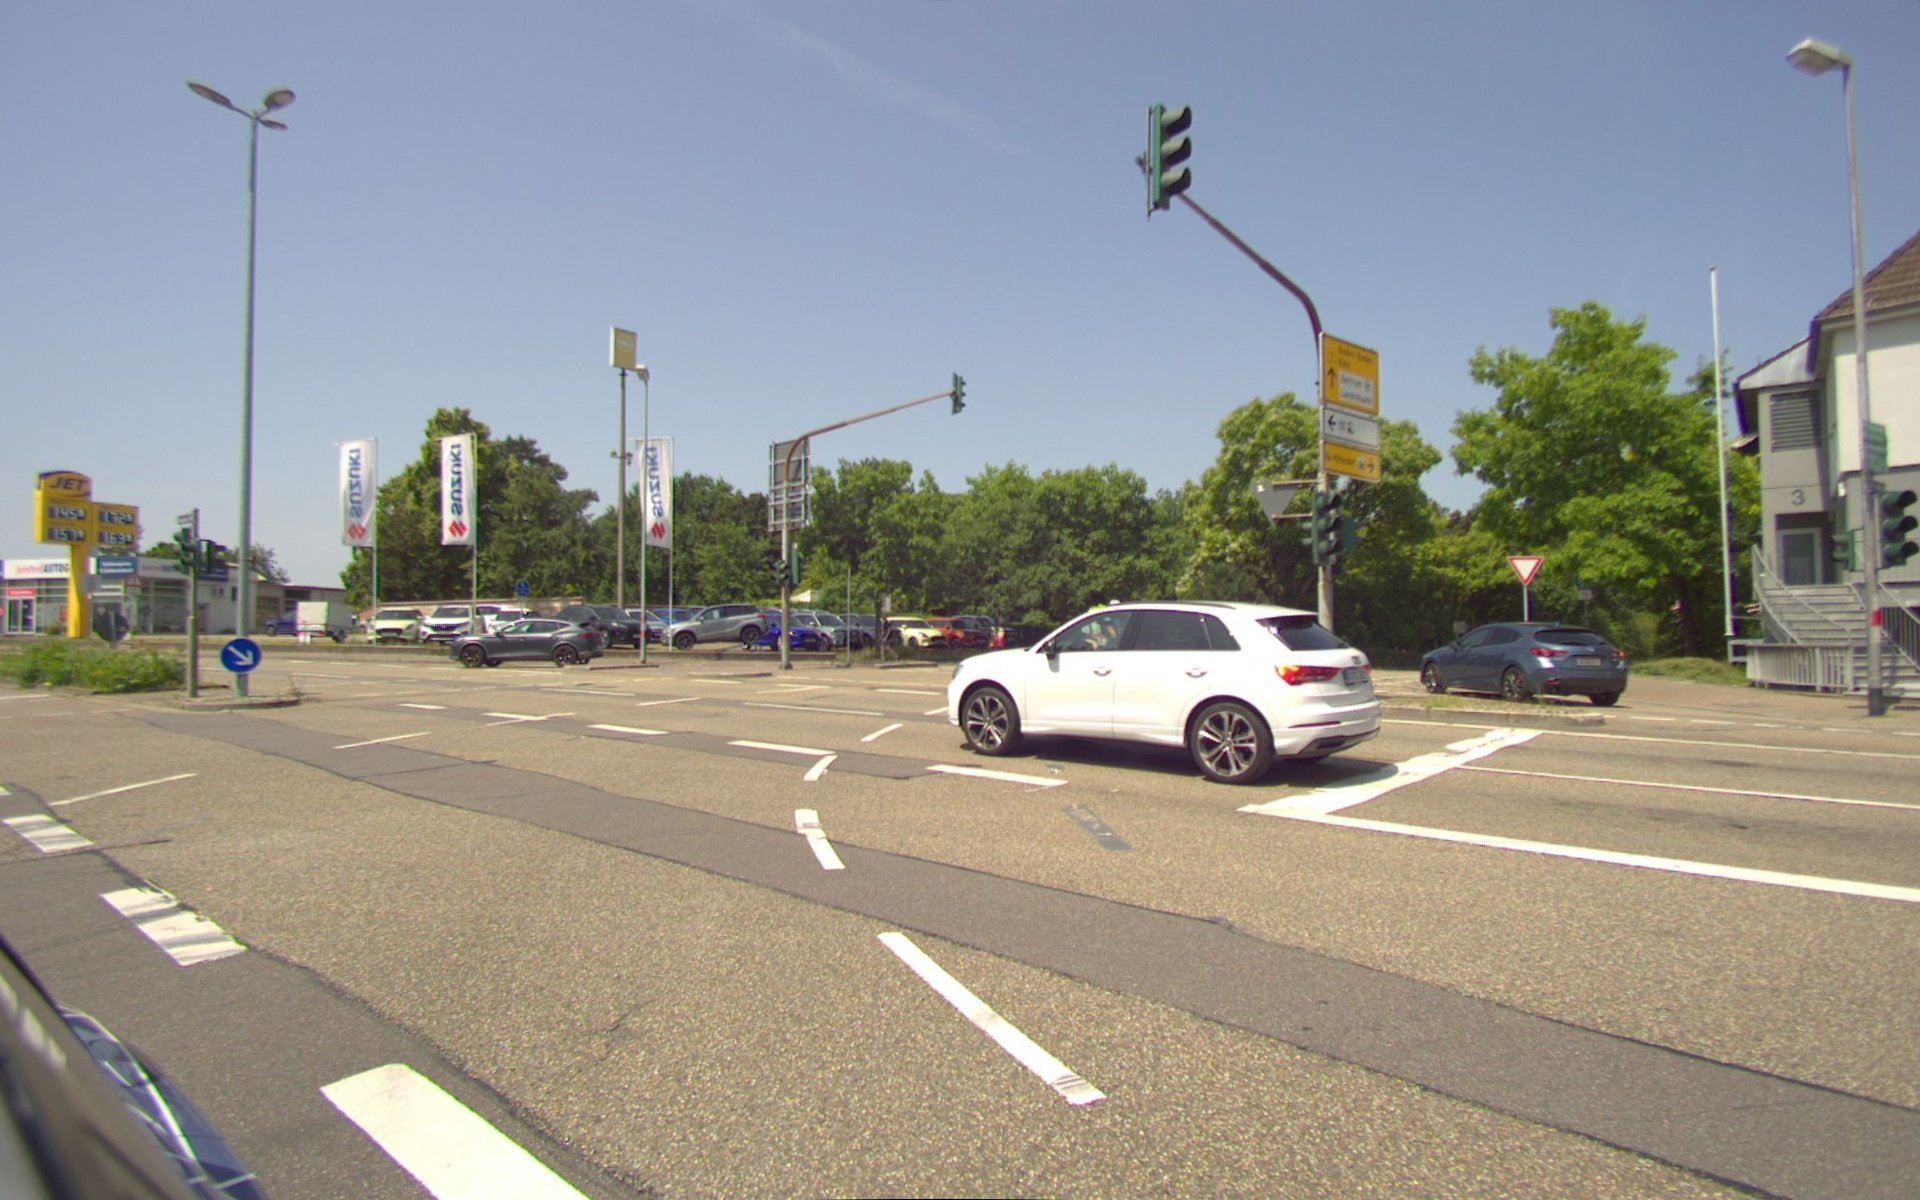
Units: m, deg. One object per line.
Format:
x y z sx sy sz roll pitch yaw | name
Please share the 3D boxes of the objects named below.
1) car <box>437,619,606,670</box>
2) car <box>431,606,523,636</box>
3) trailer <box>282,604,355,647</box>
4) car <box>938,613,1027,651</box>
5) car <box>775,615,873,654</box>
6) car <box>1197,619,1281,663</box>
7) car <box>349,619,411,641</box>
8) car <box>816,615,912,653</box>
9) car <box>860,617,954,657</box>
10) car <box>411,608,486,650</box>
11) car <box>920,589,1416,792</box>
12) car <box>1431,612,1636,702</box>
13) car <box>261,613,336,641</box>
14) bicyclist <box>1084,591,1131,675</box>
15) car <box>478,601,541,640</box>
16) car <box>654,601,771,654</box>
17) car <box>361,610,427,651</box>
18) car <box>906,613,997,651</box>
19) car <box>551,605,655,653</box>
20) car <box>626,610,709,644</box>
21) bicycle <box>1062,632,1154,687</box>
-13.282 1.389 30.915 4.370 1.497 2.007 1 -4 -9 | car
-26.767 1.178 56.111 4.714 1.662 1.686 -1 -1 16 | car
-26.490 1.037 41.864 1.667 1.717 2.439 0 -1 -7 | trailer
1.080 1.535 49.433 3.992 1.763 1.976 -1 0 36 | car
-5.777 1.411 42.795 3.992 1.548 1.774 -1 0 36 | car
11.467 1.639 41.445 1.759 1.622 4.704 -1 0 36 | car
-39.210 2.021 68.410 3.600 1.517 1.611 -1 -1 17 | car
-4.256 1.481 44.539 3.991 1.582 1.819 -1 -2 36 | car
-2.429 1.651 45.986 3.992 1.720 1.884 -1 0 36 | car
-20.164 1.112 40.049 1.886 1.552 3.974 0 0 -15 | car
1.880 0.746 10.101 4.552 1.582 1.798 -1 -1 41 | car
10.395 1.003 18.740 1.476 1.460 4.268 0 -2 2 | car
-37.558 1.536 57.454 3.600 1.517 1.685 -1 -1 17 | car
2.951 0.653 20.293 0.818 1.655 0.418 -2 -1 31 | bicyclist
-17.476 0.779 39.419 1.687 1.443 3.974 1 -1 -16 | car
-9.595 1.050 39.162 4.235 1.916 1.835 2 -1 -18 | car
-22.689 1.178 40.690 1.727 1.521 3.832 0 0 -20 | car
-0.413 1.483 47.484 3.992 1.696 1.846 -1 0 36 | car
-13.883 1.103 39.251 4.005 1.737 1.824 0 -1 35 | car
-13.997 1.267 48.335 3.992 1.548 1.774 -1 0 36 | car
2.951 1.185 20.290 1.783 1.062 0.417 -2 -1 32 | bicycle
